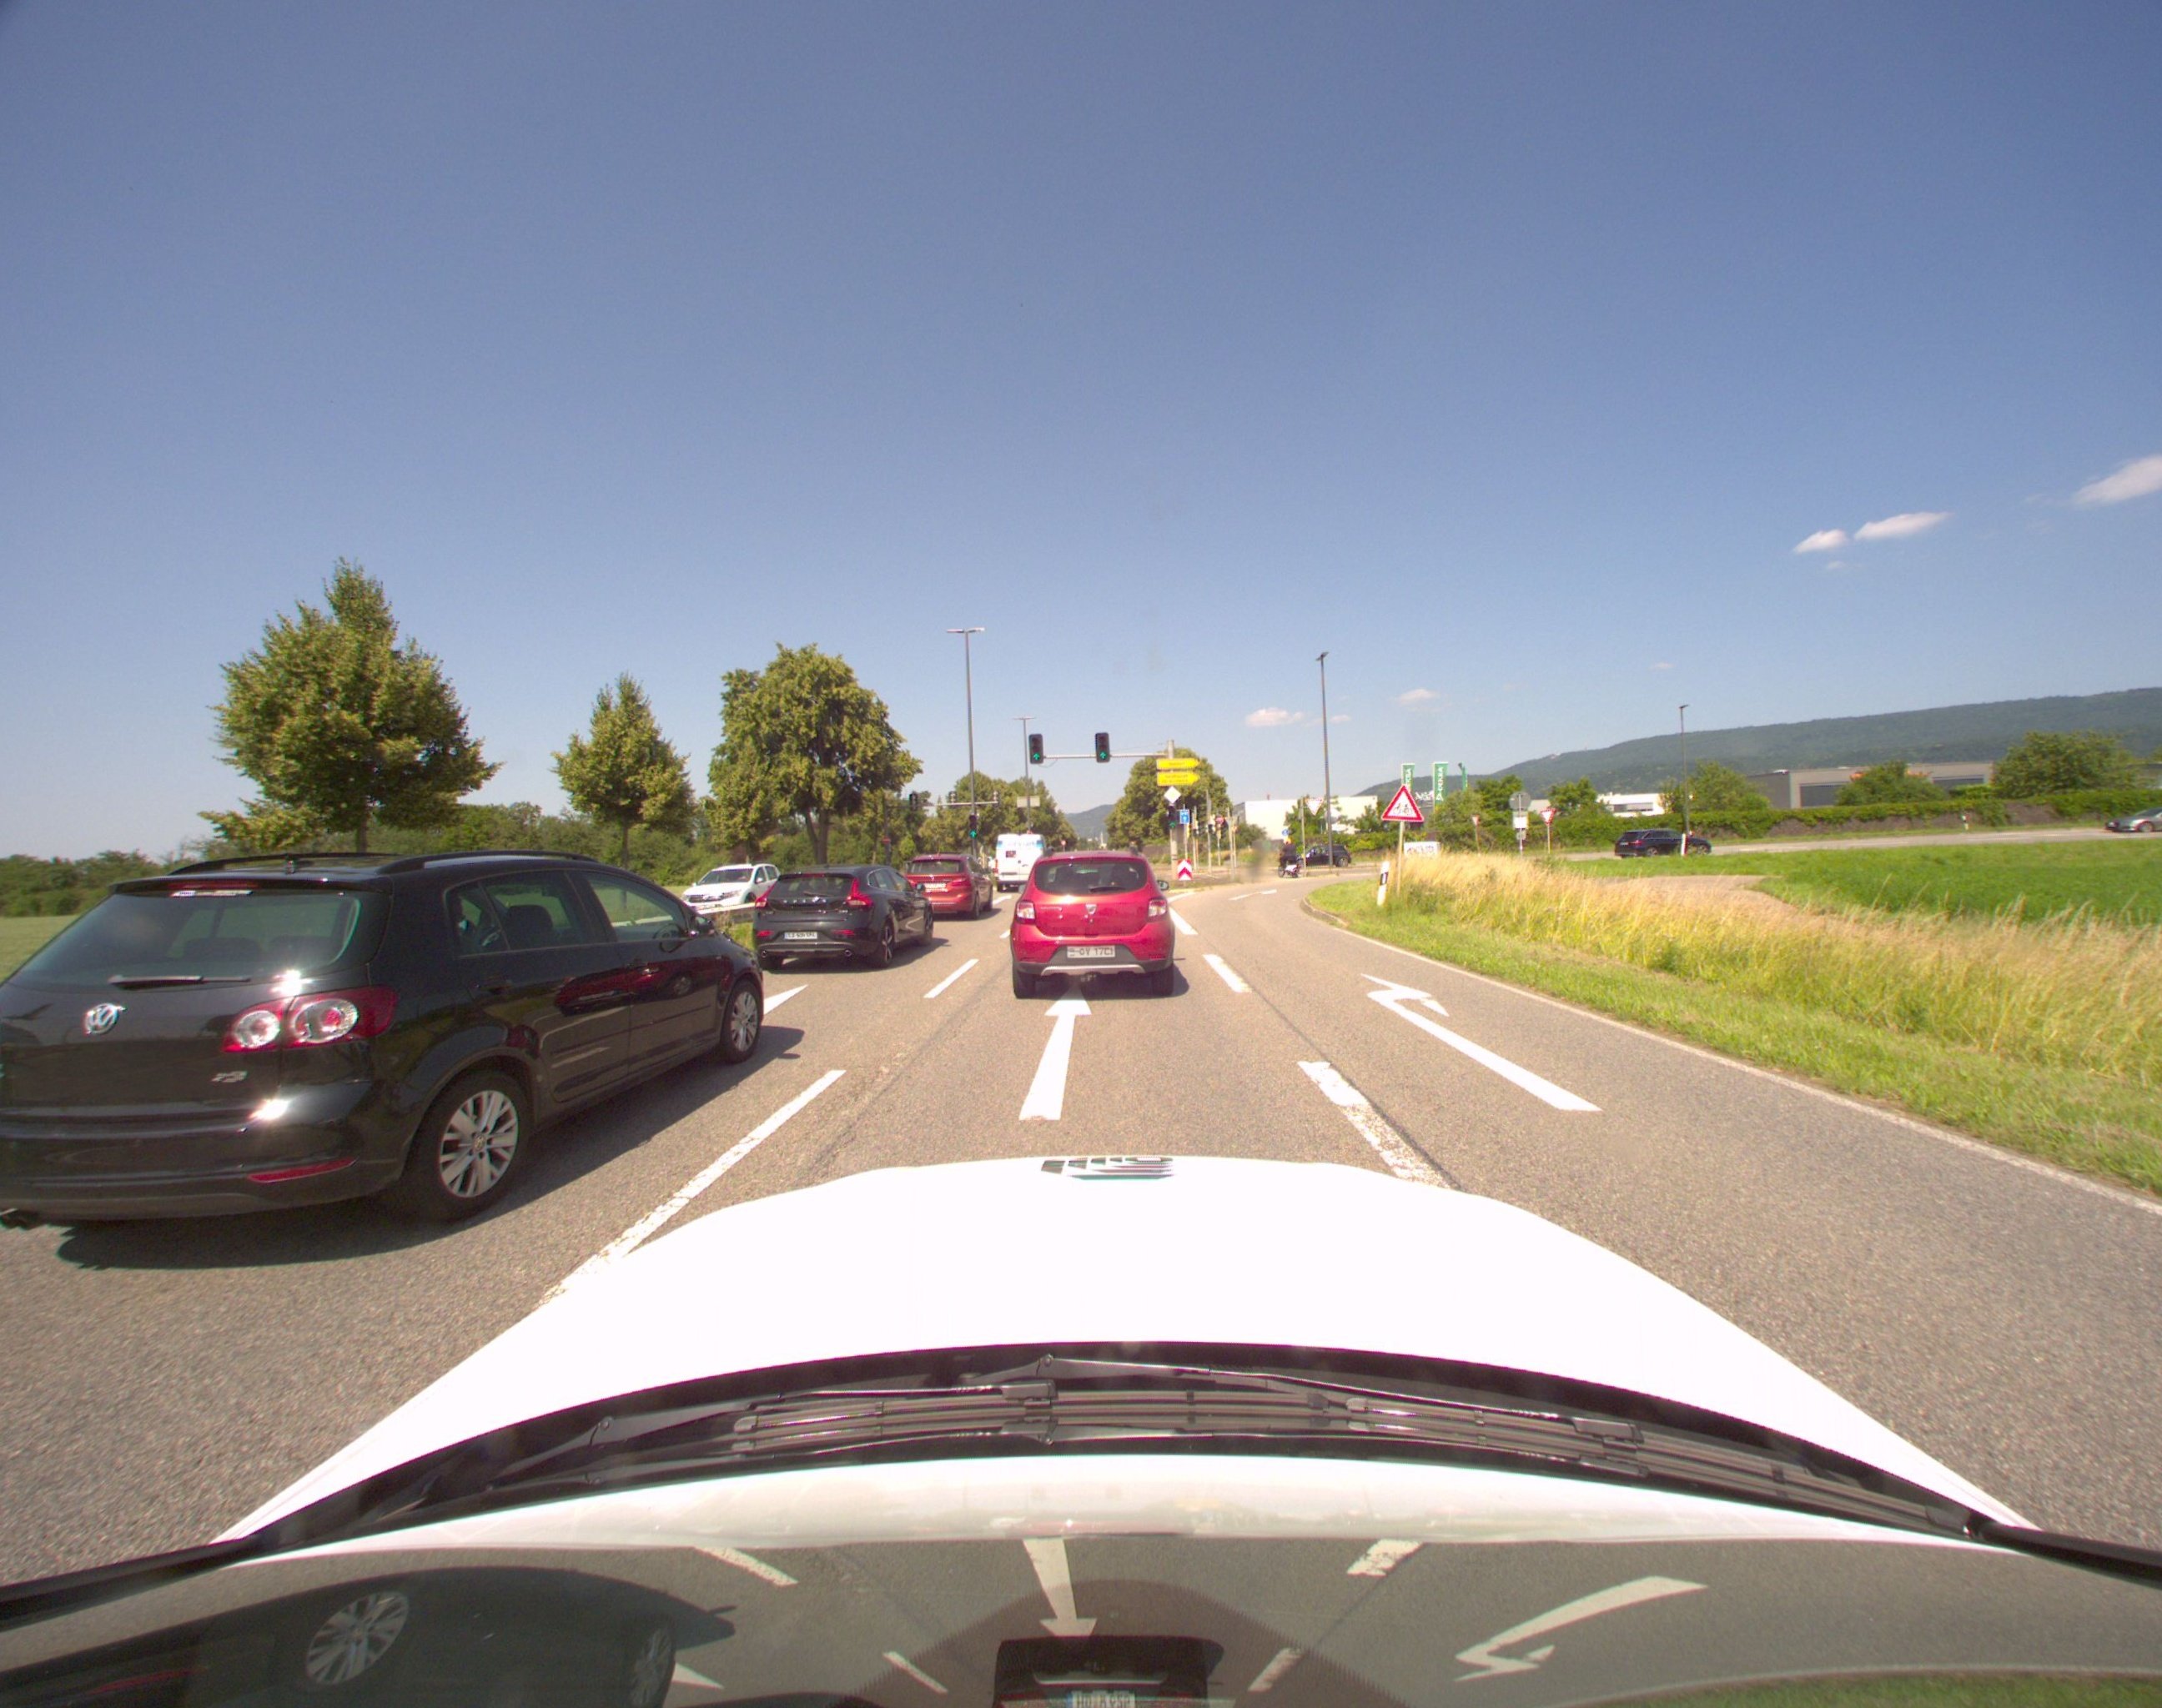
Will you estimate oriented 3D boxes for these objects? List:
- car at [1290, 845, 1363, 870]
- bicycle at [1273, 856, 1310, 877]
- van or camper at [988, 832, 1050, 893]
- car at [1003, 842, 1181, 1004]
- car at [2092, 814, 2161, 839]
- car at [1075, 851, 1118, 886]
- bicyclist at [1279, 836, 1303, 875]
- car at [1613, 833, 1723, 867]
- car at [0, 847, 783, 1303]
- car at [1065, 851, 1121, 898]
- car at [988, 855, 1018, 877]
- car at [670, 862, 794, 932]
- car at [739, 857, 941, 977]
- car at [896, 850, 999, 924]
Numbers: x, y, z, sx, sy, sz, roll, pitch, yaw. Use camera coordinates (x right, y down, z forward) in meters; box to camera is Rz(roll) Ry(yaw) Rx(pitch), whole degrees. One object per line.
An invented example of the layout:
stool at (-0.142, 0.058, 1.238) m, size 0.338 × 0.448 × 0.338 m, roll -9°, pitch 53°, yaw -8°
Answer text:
car at (14.840, 0.224, 49.332) m, size 3.964 × 1.327 × 1.810 m, roll -3°, pitch -2°, yaw 8°
bicycle at (9.899, 0.573, 38.351) m, size 0.760 × 0.915 × 2.774 m, roll -3°, pitch 0°, yaw -5°
van or camper at (-2.466, 0.317, 33.642) m, size 2.172 × 2.302 × 4.825 m, roll -1°, pitch 0°, yaw -1°
car at (0.212, 0.684, 9.937) m, size 1.742 × 1.575 × 3.680 m, roll -1°, pitch 0°, yaw 3°
car at (62.817, -1.637, 47.595) m, size 4.326 × 1.327 × 1.816 m, roll -3°, pitch 0°, yaw 21°
car at (0.758, 0.624, 36.632) m, size 1.742 × 1.458 × 3.680 m, roll -2°, pitch 0°, yaw 3°
bicyclist at (9.863, 0.060, 38.327) m, size 0.801 × 1.771 × 0.807 m, roll -3°, pitch 0°, yaw -6°
car at (30.720, -0.198, 42.737) m, size 4.308 × 1.616 × 2.001 m, roll -1°, pitch 0°, yaw 2°
car at (-3.415, 0.770, 4.811) m, size 1.716 × 1.575 × 3.895 m, roll -1°, pitch 1°, yaw 2°
car at (0.475, 0.651, 27.992) m, size 1.742 × 1.458 × 3.680 m, roll -2°, pitch 0°, yaw 3°
car at (-6.504, 0.961, 68.668) m, size 1.986 × 1.670 × 4.001 m, roll -3°, pitch 0°, yaw 1°
car at (-9.469, 1.096, 22.463) m, size 1.741 × 1.638 × 4.131 m, roll -3°, pitch 0°, yaw -3°
car at (-3.391, 0.809, 12.275) m, size 1.695 × 1.442 × 3.958 m, roll -1°, pitch 1°, yaw 2°
car at (-3.179, 0.734, 20.147) m, size 1.717 × 1.600 × 3.958 m, roll -1°, pitch 0°, yaw 2°
